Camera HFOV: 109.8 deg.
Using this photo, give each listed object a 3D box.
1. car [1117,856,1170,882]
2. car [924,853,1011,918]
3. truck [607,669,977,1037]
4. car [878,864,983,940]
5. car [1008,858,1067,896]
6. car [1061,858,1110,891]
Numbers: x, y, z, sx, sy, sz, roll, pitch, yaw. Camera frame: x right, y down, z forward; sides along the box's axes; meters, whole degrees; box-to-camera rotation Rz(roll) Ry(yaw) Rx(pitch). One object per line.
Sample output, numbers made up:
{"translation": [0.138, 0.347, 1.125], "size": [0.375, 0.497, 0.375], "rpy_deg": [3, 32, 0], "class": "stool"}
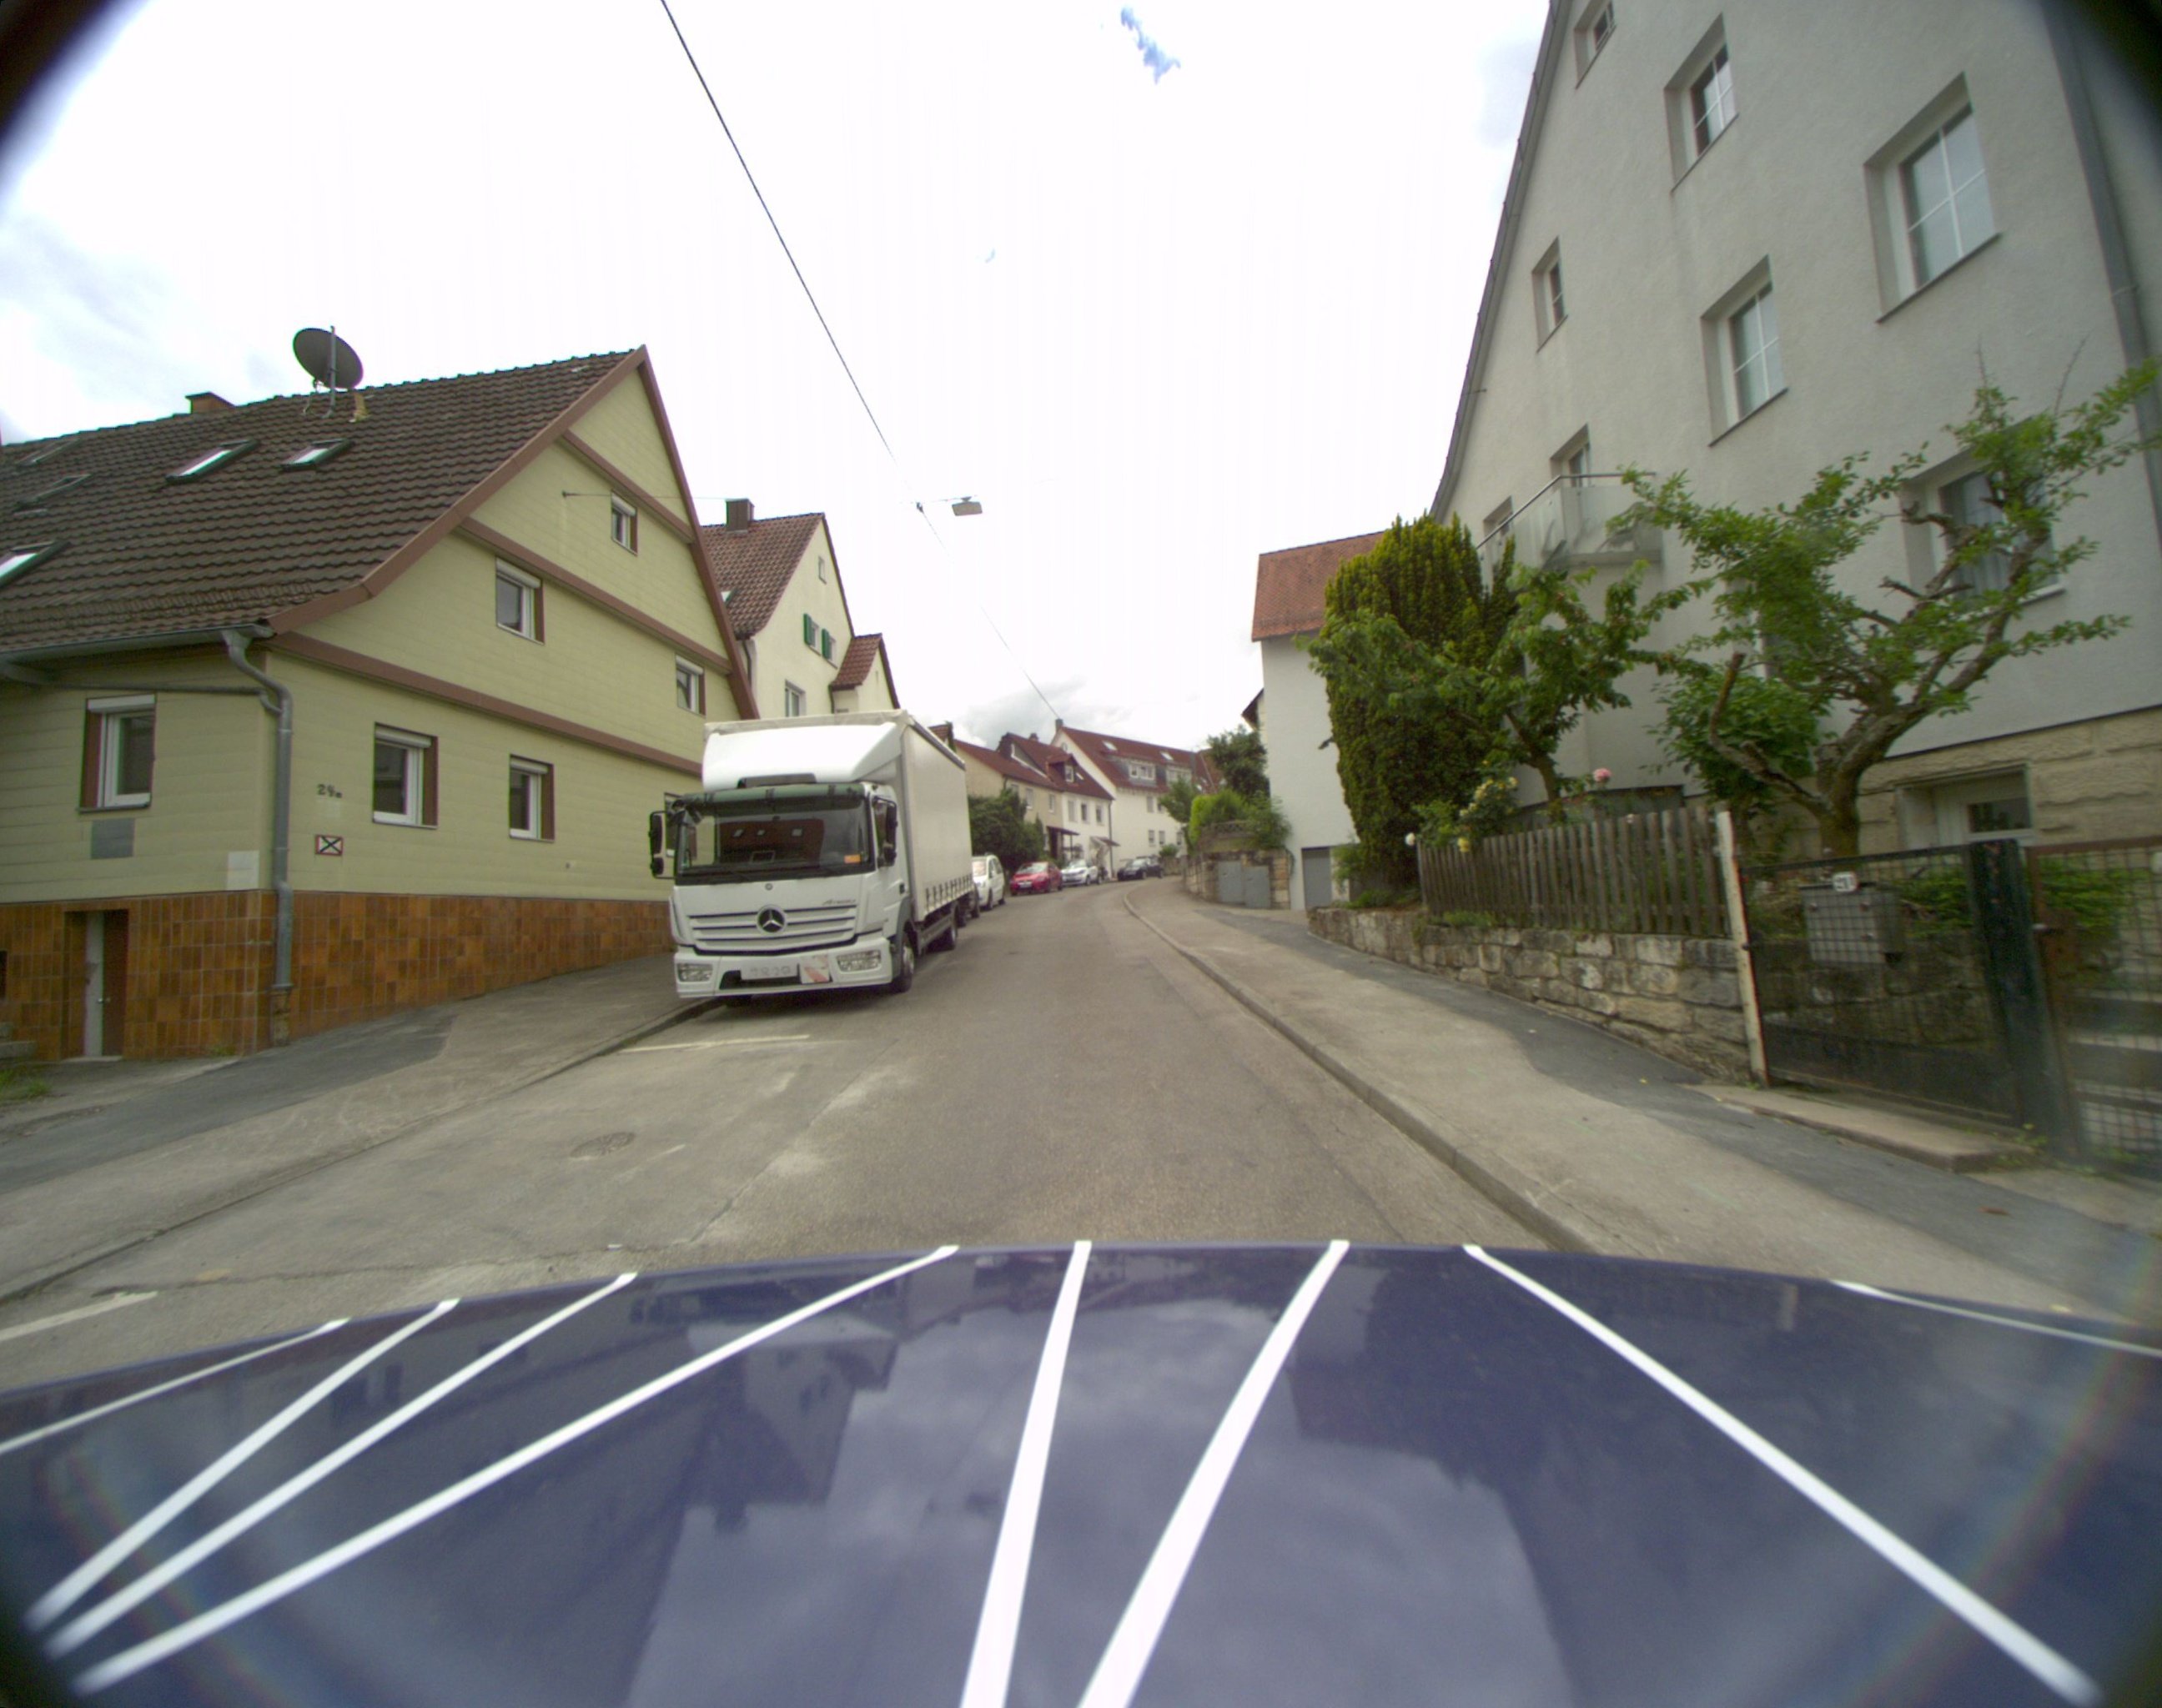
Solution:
{"translation": [4.081, 0.943, 48.895], "size": [1.720, 1.398, 4.010], "rpy_deg": [-6, -3, 30], "class": "car"}
{"translation": [-3.613, 0.935, 24.940], "size": [1.839, 1.804, 4.305], "rpy_deg": [-5, 0, 3], "class": "car"}
{"translation": [-3.439, -0.002, 11.684], "size": [2.683, 3.576, 8.104], "rpy_deg": [-3, 0, -2], "class": "truck"}
{"translation": [-3.683, 1.109, 19.286], "size": [1.737, 1.497, 4.050], "rpy_deg": [-5, 1, 0], "class": "car"}
{"translation": [-1.943, 1.029, 34.747], "size": [1.682, 1.443, 3.855], "rpy_deg": [-5, 0, 11], "class": "car"}
{"translation": [0.257, 1.091, 41.680], "size": [1.613, 1.523, 2.901], "rpy_deg": [-7, -1, 21], "class": "car"}
